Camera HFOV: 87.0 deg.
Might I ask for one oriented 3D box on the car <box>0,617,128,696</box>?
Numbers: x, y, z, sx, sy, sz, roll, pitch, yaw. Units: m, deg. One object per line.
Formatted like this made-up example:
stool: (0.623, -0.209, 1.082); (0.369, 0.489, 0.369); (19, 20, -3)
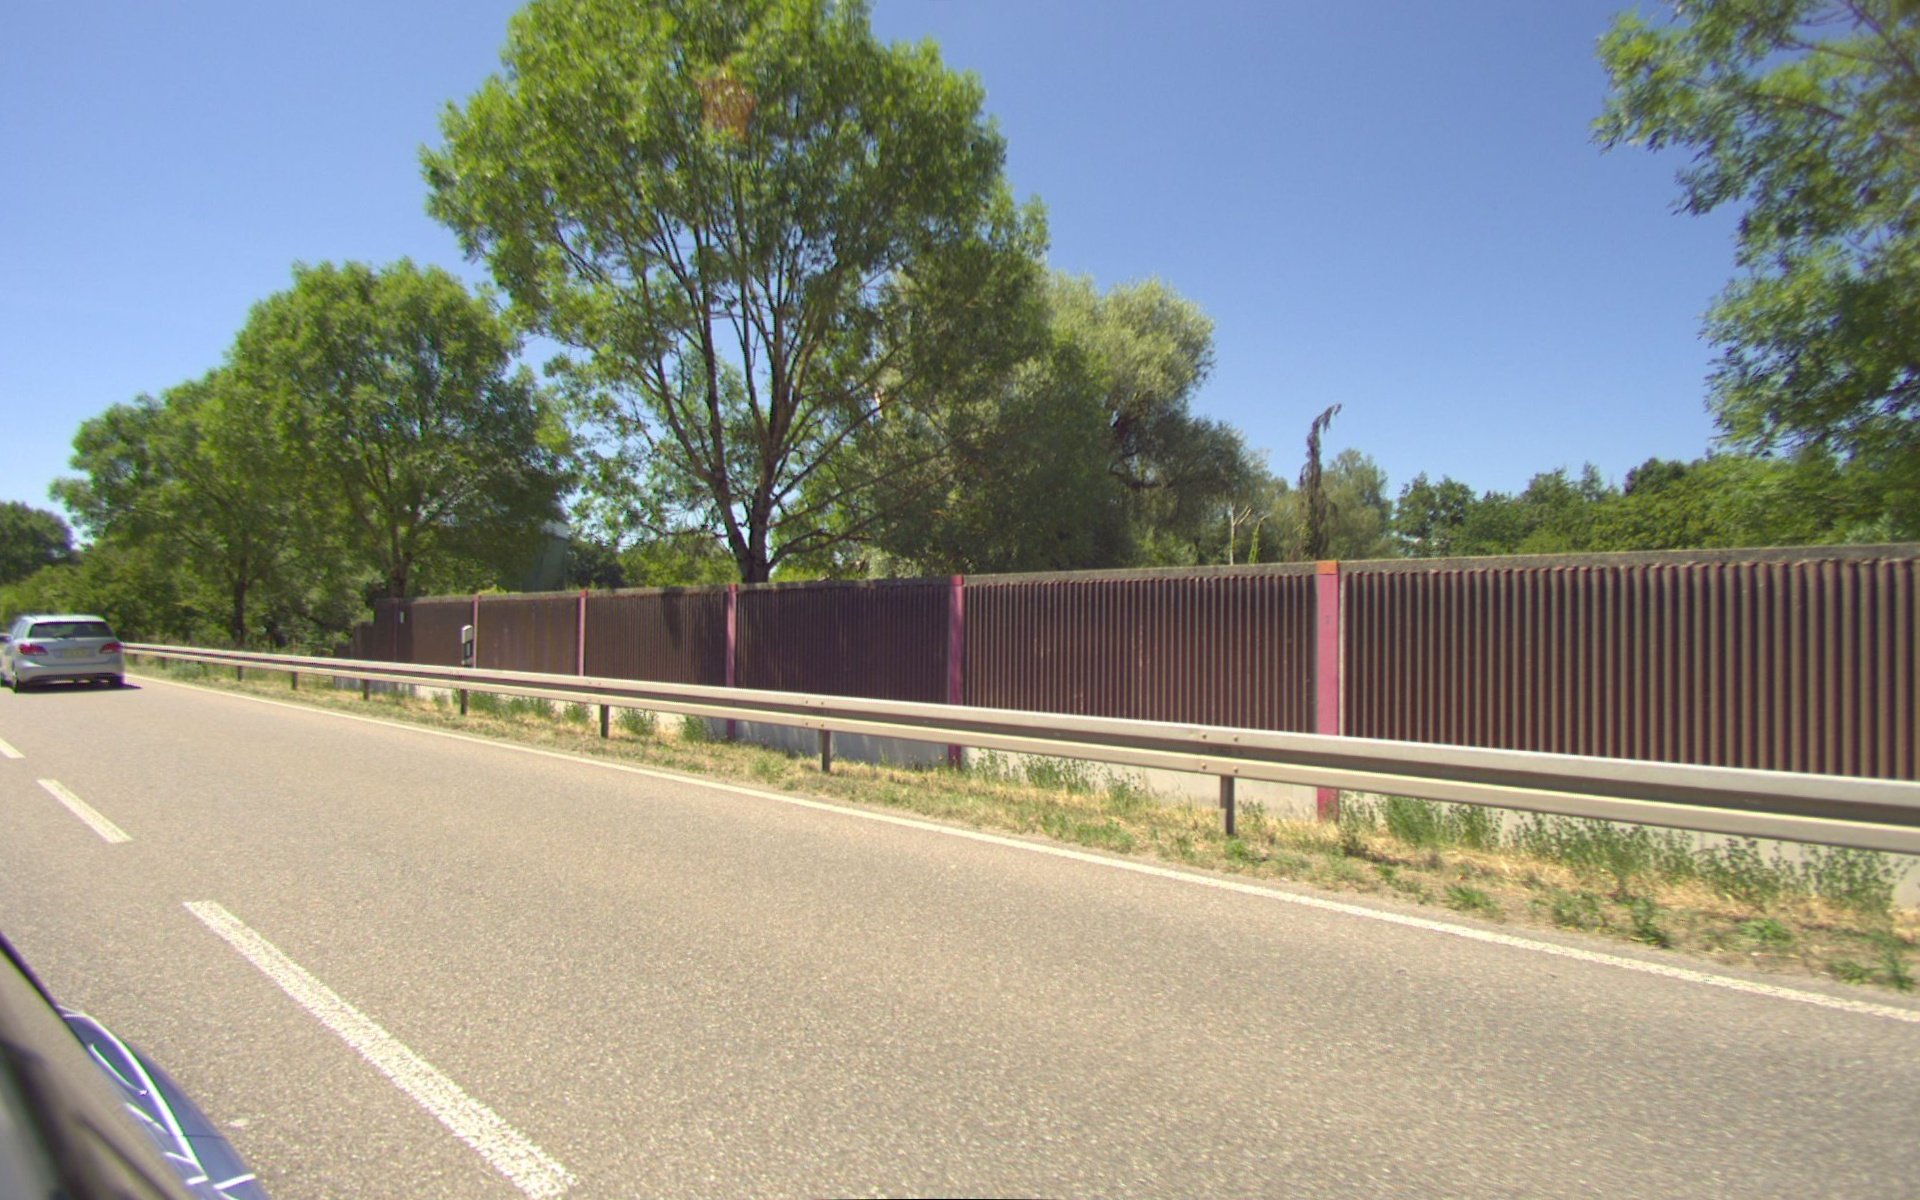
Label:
car: (-19.468, 1.143, 21.679); (4.386, 1.537, 1.771); (-1, -1, 40)
